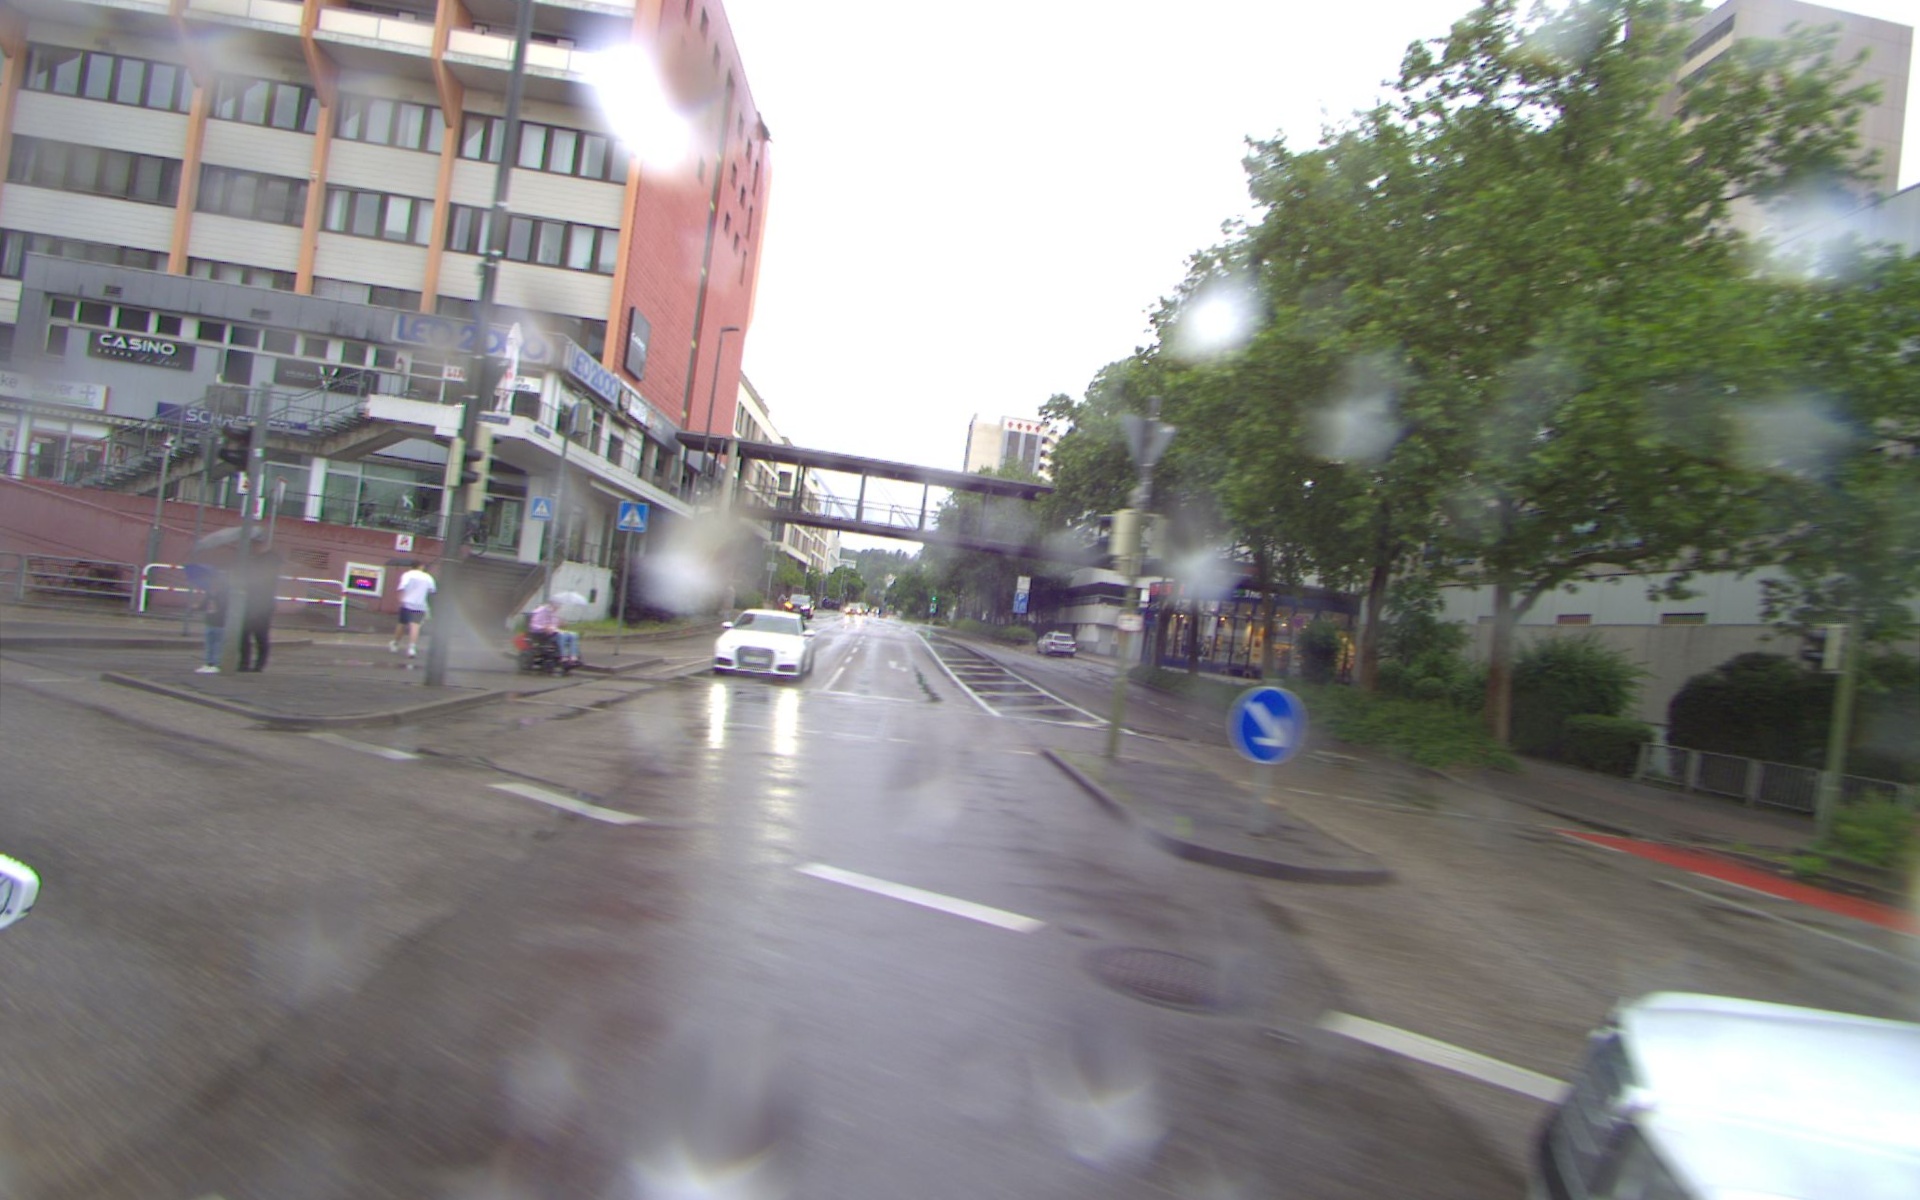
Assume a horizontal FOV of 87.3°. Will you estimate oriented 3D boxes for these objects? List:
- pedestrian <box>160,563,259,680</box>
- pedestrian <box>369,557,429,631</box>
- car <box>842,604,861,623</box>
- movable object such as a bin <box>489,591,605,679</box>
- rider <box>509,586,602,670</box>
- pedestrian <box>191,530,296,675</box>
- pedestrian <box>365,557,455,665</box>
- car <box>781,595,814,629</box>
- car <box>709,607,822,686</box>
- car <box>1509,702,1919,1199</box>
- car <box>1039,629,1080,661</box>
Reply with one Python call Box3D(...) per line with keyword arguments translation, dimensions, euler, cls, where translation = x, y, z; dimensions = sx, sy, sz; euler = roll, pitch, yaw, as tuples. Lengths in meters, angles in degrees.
Box3D(translation=(-9.365, 0.278, 12.561), dimensions=(0.645, 1.362, 0.708), euler=(5, -1, 33), cls="pedestrian")
Box3D(translation=(-13.782, -0.147, 24.735), dimensions=(0.916, 1.688, 0.795), euler=(6, -1, 34), cls="pedestrian")
Box3D(translation=(-12.323, 1.557, 114.584), dimensions=(1.685, 1.828, 4.001), euler=(6, -2, -2), cls="car")
Box3D(translation=(-7.145, 0.601, 17.432), dimensions=(1.430, 1.349, 1.131), euler=(5, 1, 29), cls="movable object such as a bin")
Box3D(translation=(-6.974, 0.479, 17.349), dimensions=(1.072, 1.301, 0.923), euler=(7, 2, 29), cls="rider")
Box3D(translation=(-8.572, 0.038, 12.049), dimensions=(0.645, 1.626, 0.708), euler=(6, -1, 33), cls="pedestrian")
Box3D(translation=(-9.532, 0.191, 17.443), dimensions=(1.112, 1.711, 0.828), euler=(6, -1, 38), cls="pedestrian")
Box3D(translation=(-11.264, 0.825, 69.553), dimensions=(1.966, 2.037, 3.994), euler=(6, -2, -11), cls="car")
Box3D(translation=(-4.265, 0.985, 22.753), dimensions=(1.779, 1.423, 4.789), euler=(6, -1, -3), cls="car")
Box3D(translation=(3.145, 1.207, 1.304), dimensions=(4.198, 1.465, 1.637), euler=(7, -2, 32), cls="car")
Box3D(translation=(6.329, 2.841, 64.567), dimensions=(1.802, 1.827, 3.999), euler=(5, -1, -4), cls="car")
